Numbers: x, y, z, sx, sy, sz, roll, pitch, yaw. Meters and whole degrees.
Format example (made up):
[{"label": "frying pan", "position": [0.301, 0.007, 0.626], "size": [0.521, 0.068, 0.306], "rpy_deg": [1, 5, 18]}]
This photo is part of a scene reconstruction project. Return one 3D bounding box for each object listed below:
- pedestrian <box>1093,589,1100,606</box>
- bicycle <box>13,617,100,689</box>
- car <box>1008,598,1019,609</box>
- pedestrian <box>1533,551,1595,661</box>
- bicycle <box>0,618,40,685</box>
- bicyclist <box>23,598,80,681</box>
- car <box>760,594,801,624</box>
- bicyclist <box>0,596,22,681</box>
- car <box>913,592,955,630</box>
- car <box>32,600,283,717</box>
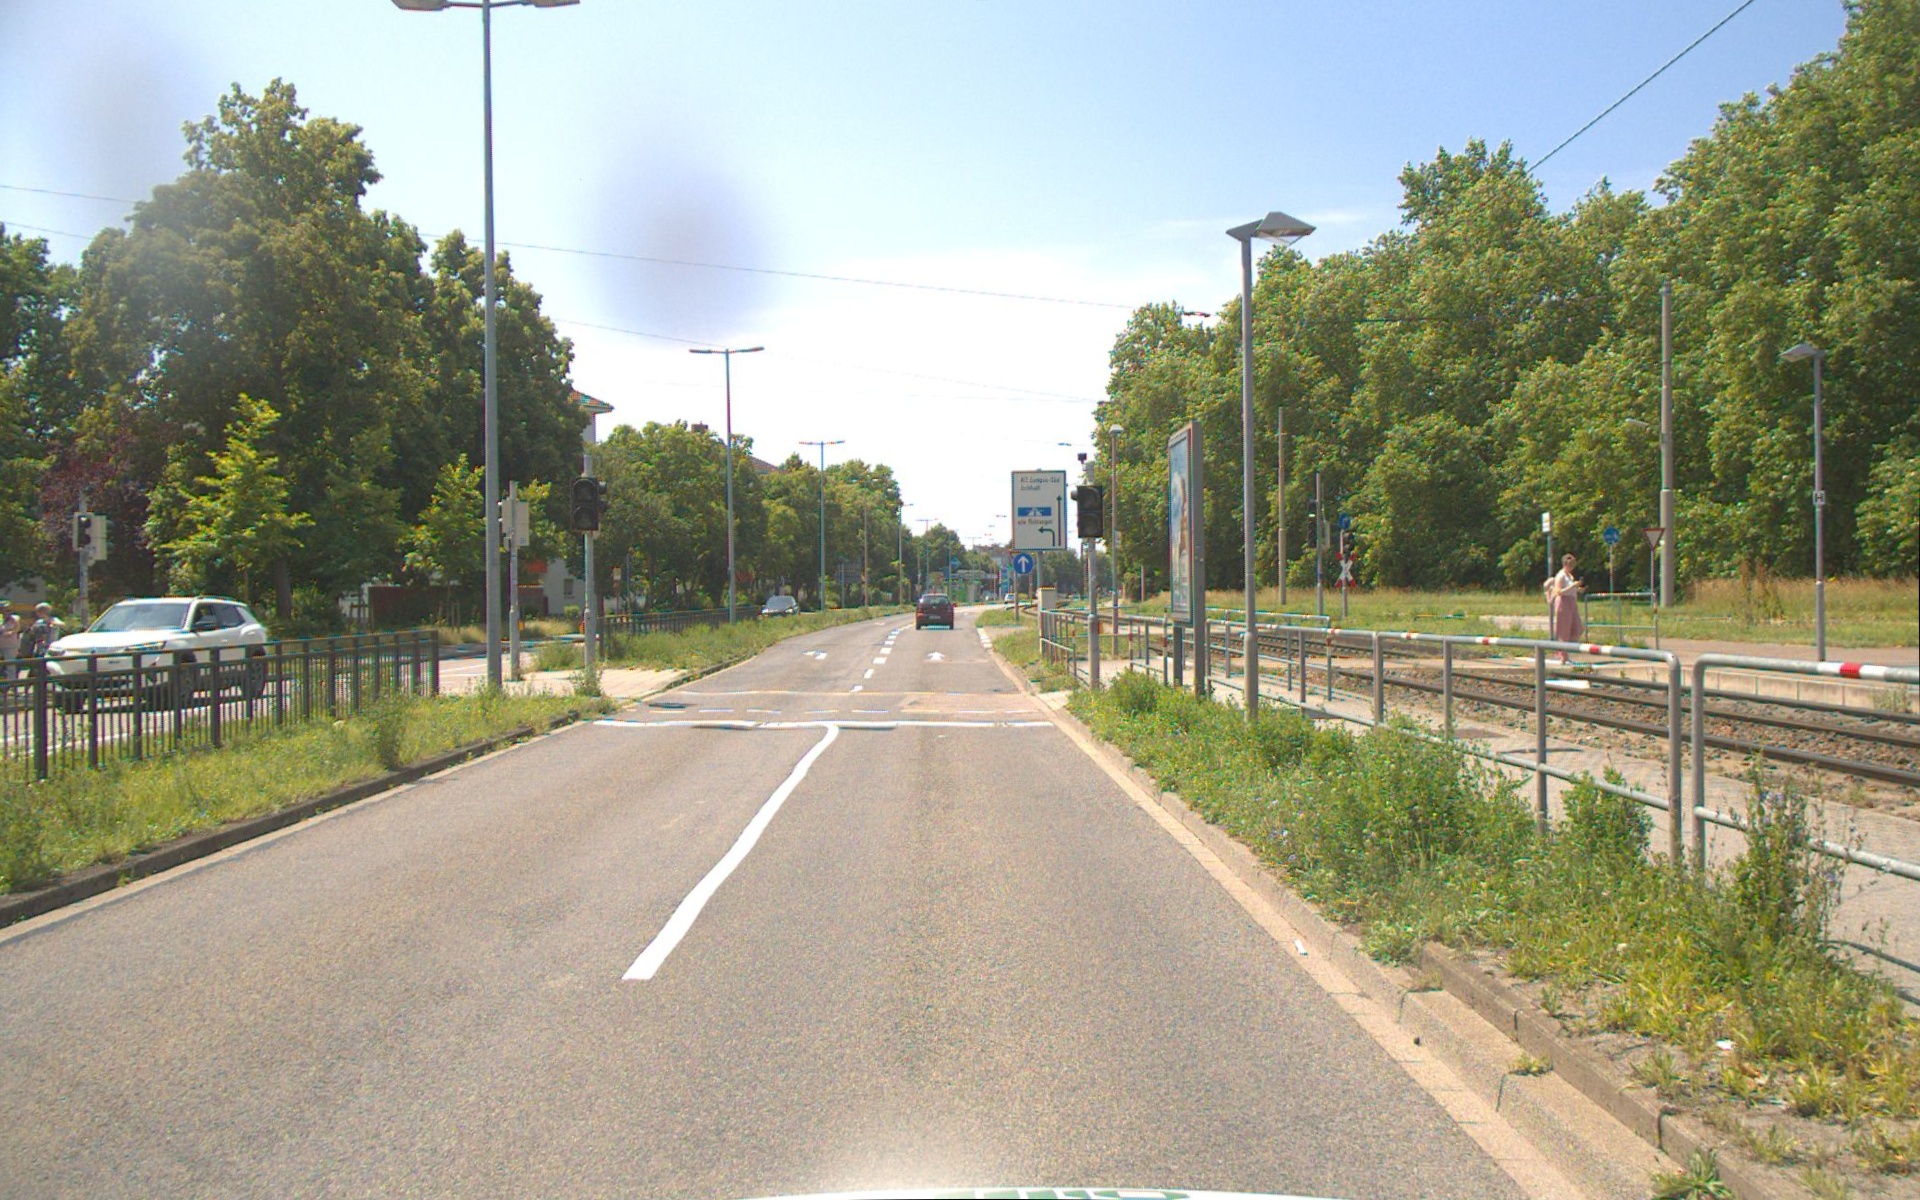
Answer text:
[{"label": "pedestrian", "position": [14.425, -0.249, 174.701], "size": [0.647, 1.756, 0.817], "rpy_deg": [-1, 0, 5]}, {"label": "bicycle", "position": [-15.287, 0.881, 28.021], "size": [0.576, 1.153, 1.615], "rpy_deg": [-1, 0, 0]}, {"label": "car", "position": [7.948, 0.553, 245.726], "size": [1.667, 1.506, 3.717], "rpy_deg": [1, 0, 2]}, {"label": "pedestrian", "position": [10.021, 0.105, 27.436], "size": [0.624, 1.790, 0.813], "rpy_deg": [1, -1, -14]}, {"label": "bicycle", "position": [-16.142, 0.859, 27.803], "size": [0.542, 1.113, 1.379], "rpy_deg": [0, -1, 1]}, {"label": "bicyclist", "position": [-15.300, 0.653, 27.866], "size": [0.534, 1.369, 0.755], "rpy_deg": [-1, 0, -2]}, {"label": "car", "position": [-9.689, 0.460, 89.578], "size": [1.720, 1.570, 4.161], "rpy_deg": [-1, 0, 1]}, {"label": "bicyclist", "position": [-16.137, 0.644, 27.902], "size": [0.350, 1.416, 0.440], "rpy_deg": [1, 0, 2]}, {"label": "car", "position": [-1.068, 0.439, 69.472], "size": [1.668, 1.503, 3.716], "rpy_deg": [-1, 0, 0]}, {"label": "car", "position": [-12.256, 0.833, 25.600], "size": [1.784, 1.600, 4.346], "rpy_deg": [-2, 0, -1]}]
